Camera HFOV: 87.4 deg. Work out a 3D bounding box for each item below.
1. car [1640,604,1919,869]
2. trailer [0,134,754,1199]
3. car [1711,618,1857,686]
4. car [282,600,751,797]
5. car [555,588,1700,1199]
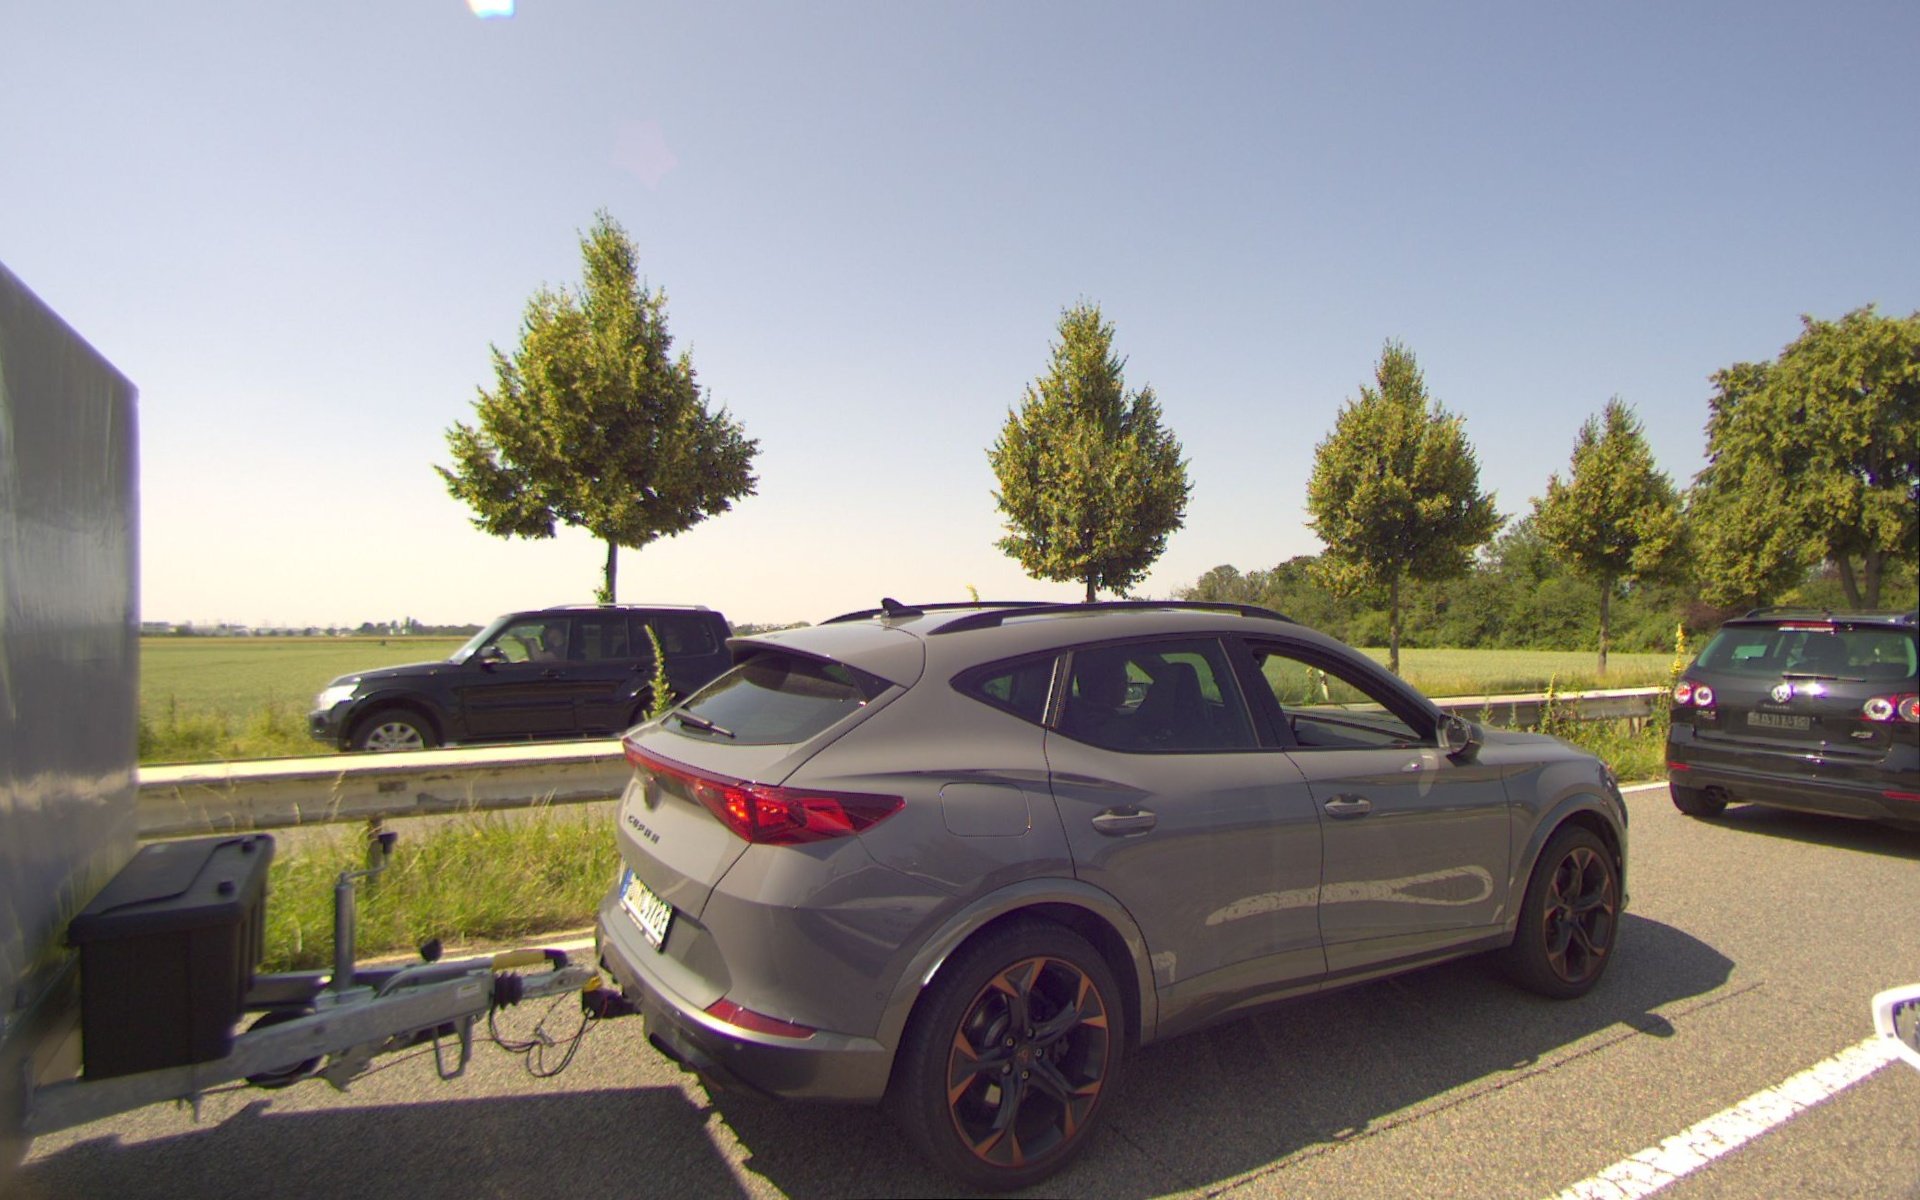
[{"bbox_3d":[7.130,0.856,7.664,3.846,1.596,1.715,1,-1,-30],"label":"car"},{"bbox_3d":[-2.614,0.342,1.852,4.125,2.202,1.493,1,0,-31],"label":"trailer"},{"bbox_3d":[25.522,1.548,31.082,4.959,1.956,1.983,1,-2,-32],"label":"car"},{"bbox_3d":[-4.947,0.994,11.590,4.644,1.880,1.848,1,-2,-32],"label":"car"},{"bbox_3d":[0.853,0.768,3.910,4.312,1.523,1.737,1,0,-31],"label":"car"}]
